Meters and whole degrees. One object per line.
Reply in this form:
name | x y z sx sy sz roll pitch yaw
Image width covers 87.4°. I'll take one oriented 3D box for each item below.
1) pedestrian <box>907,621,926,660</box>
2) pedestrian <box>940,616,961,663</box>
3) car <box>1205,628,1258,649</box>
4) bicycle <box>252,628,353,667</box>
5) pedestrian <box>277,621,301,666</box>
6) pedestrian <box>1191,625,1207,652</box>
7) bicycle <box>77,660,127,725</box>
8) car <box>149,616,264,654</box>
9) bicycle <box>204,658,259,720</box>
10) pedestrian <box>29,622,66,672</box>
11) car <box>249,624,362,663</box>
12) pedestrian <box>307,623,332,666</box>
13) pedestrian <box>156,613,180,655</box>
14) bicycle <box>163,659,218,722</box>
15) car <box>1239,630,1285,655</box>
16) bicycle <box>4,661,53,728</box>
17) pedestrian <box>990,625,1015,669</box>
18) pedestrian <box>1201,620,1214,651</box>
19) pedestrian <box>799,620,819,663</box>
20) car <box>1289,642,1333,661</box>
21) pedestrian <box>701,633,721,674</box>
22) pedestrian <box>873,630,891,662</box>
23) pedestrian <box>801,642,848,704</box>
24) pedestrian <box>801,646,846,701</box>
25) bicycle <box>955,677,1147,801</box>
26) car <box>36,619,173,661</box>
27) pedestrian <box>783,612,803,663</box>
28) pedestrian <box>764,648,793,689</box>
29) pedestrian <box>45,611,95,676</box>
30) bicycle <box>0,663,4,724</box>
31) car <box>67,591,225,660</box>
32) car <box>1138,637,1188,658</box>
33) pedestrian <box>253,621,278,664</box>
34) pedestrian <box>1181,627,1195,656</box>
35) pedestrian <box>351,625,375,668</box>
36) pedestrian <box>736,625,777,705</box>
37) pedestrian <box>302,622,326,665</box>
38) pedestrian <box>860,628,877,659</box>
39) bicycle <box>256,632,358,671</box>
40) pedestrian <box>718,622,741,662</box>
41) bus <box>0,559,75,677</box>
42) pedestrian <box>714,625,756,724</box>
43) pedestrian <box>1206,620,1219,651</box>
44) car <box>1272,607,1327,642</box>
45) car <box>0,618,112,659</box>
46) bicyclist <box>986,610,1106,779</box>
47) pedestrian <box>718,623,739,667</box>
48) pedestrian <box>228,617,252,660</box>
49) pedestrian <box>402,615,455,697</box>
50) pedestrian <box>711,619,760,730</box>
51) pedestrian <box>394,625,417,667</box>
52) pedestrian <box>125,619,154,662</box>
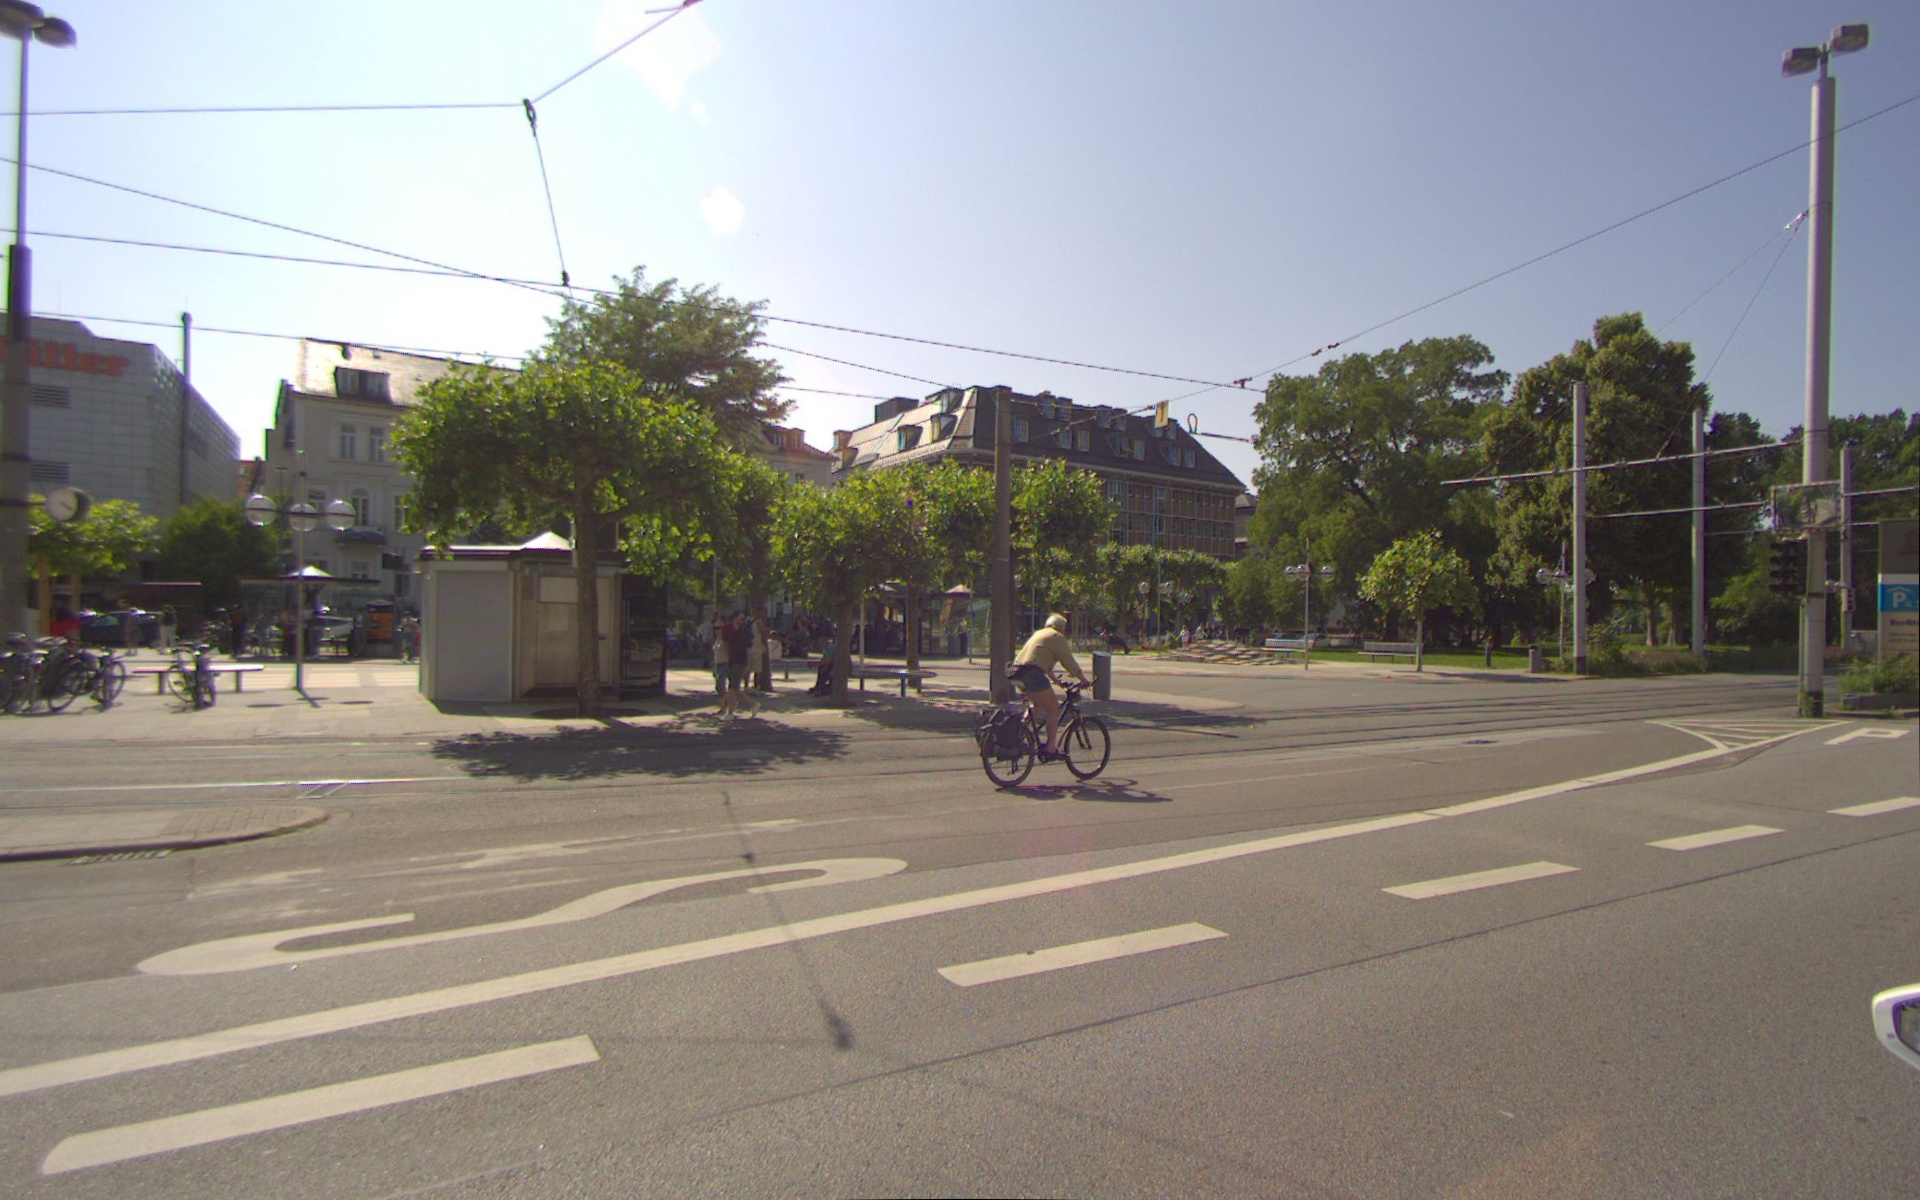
pedestrian | -1.990 1.862 45.855 0.612 1.751 0.737 1 -3 -31
pedestrian | -0.412 1.746 44.356 0.726 2.034 0.627 0 -3 -25
car | 23.118 3.254 85.492 4.798 1.685 1.743 1 1 -36
bicycle | -25.114 1.795 38.446 3.131 1.397 0.811 1 1 -43
pedestrian | -22.794 1.481 34.126 0.673 1.484 0.619 0 -3 -33
pedestrian | 13.322 2.157 55.967 0.656 1.512 0.521 1 -3 -38
bicycle | -14.250 1.502 16.664 0.577 0.881 1.847 1 1 -42
car | -32.918 1.526 44.025 3.962 1.528 1.743 1 1 -36
bicycle | -12.822 1.539 17.659 0.577 0.881 1.847 1 1 -42
pedestrian | -27.393 1.406 30.158 0.672 1.484 0.621 0 -3 -27
car | -27.767 1.824 42.660 3.962 1.528 1.743 1 1 -36
pedestrian | -21.969 1.527 34.452 0.674 1.484 0.619 1 -3 -35
pedestrian | -28.463 1.242 36.096 0.578 1.484 0.559 -3 -3 41
bicycle | -13.220 1.530 17.238 0.577 0.881 1.847 1 1 -42
car | 26.904 3.772 89.590 3.602 2.040 1.983 1 1 -31
bicycle | -14.932 1.485 16.119 0.542 0.868 1.847 1 1 -42
pedestrian | 1.687 1.869 39.944 0.697 1.728 0.673 1 -3 -31
pedestrian | 13.113 1.902 53.246 0.460 1.630 0.449 0 -3 -30
pedestrian | -6.233 1.710 41.422 0.537 1.771 0.629 -2 -3 38
car | 31.014 4.571 88.781 3.962 1.528 1.743 1 1 -36
pedestrian | -7.969 1.705 32.155 0.398 1.279 0.479 -3 -3 41
pedestrian | -3.501 2.058 45.014 0.591 1.409 0.565 1 -3 -31
pedestrian | -2.845 1.526 21.113 0.745 1.263 0.670 1 -3 -36
pedestrian | -3.024 1.620 22.271 0.745 1.186 0.670 1 -3 -36
bicycle | 0.948 1.383 10.357 1.852 1.135 0.814 1 -4 -30
car | -33.719 1.553 39.723 3.962 1.528 1.743 1 1 -36
pedestrian | -6.836 1.542 41.105 0.537 2.034 0.629 -2 -3 38
pedestrian | -4.683 1.766 25.953 0.573 1.014 0.632 0 -3 -27
pedestrian | -20.649 1.016 23.318 0.667 1.484 0.625 -2 -3 22
bicycle | -15.405 1.493 15.744 0.542 0.868 1.847 1 1 -42
car | -36.458 1.125 45.221 5.347 2.926 1.939 1 1 -36
car | 16.382 3.825 81.127 3.962 1.528 1.743 1 1 -36
pedestrian | -24.806 1.522 35.890 0.735 1.484 0.782 1 -3 -35
pedestrian | 12.848 2.344 56.574 0.615 1.630 0.488 1 -3 -40
pedestrian | -21.171 1.652 35.621 0.671 1.484 0.621 0 -3 -26
pedestrian | -4.219 1.337 20.812 0.566 1.630 0.602 -3 -3 31
pedestrian | -22.559 1.521 35.084 0.674 1.484 0.619 1 -3 -37
pedestrian | -4.231 2.012 46.416 0.591 1.377 0.565 1 -3 -31
bicycle | -24.556 1.917 37.835 3.129 1.397 0.811 1 1 -42
pedestrian | -9.299 1.691 40.545 0.614 1.619 0.734 1 -3 -42
bus | -34.300 0.330 29.706 12.240 3.465 3.060 2 1 -11
pedestrian | -3.827 1.256 17.046 0.617 1.630 0.524 0 -3 -21
pedestrian | 13.628 1.929 54.245 0.491 1.630 0.410 1 -3 -39
car | 33.850 2.410 100.165 5.358 3.360 2.115 1 1 -31
car | -37.259 1.558 40.918 3.962 1.528 1.743 1 1 -36
bicyclist | 0.878 0.948 10.352 0.892 1.643 0.814 0 -4 -30
pedestrian | -9.338 1.800 40.517 0.612 1.751 0.737 1 -3 -31
pedestrian | -24.954 1.340 34.823 0.620 1.484 0.577 1 -3 -42
pedestrian | -11.683 1.230 22.090 0.824 1.751 0.751 -1 -3 -10
pedestrian | -3.668 1.208 16.429 0.517 1.756 0.587 -3 -3 30
pedestrian | -19.812 1.645 35.882 0.671 1.484 0.621 0 -3 -26
pedestrian | -28.810 1.420 35.272 0.672 1.484 0.621 0 -3 -27
